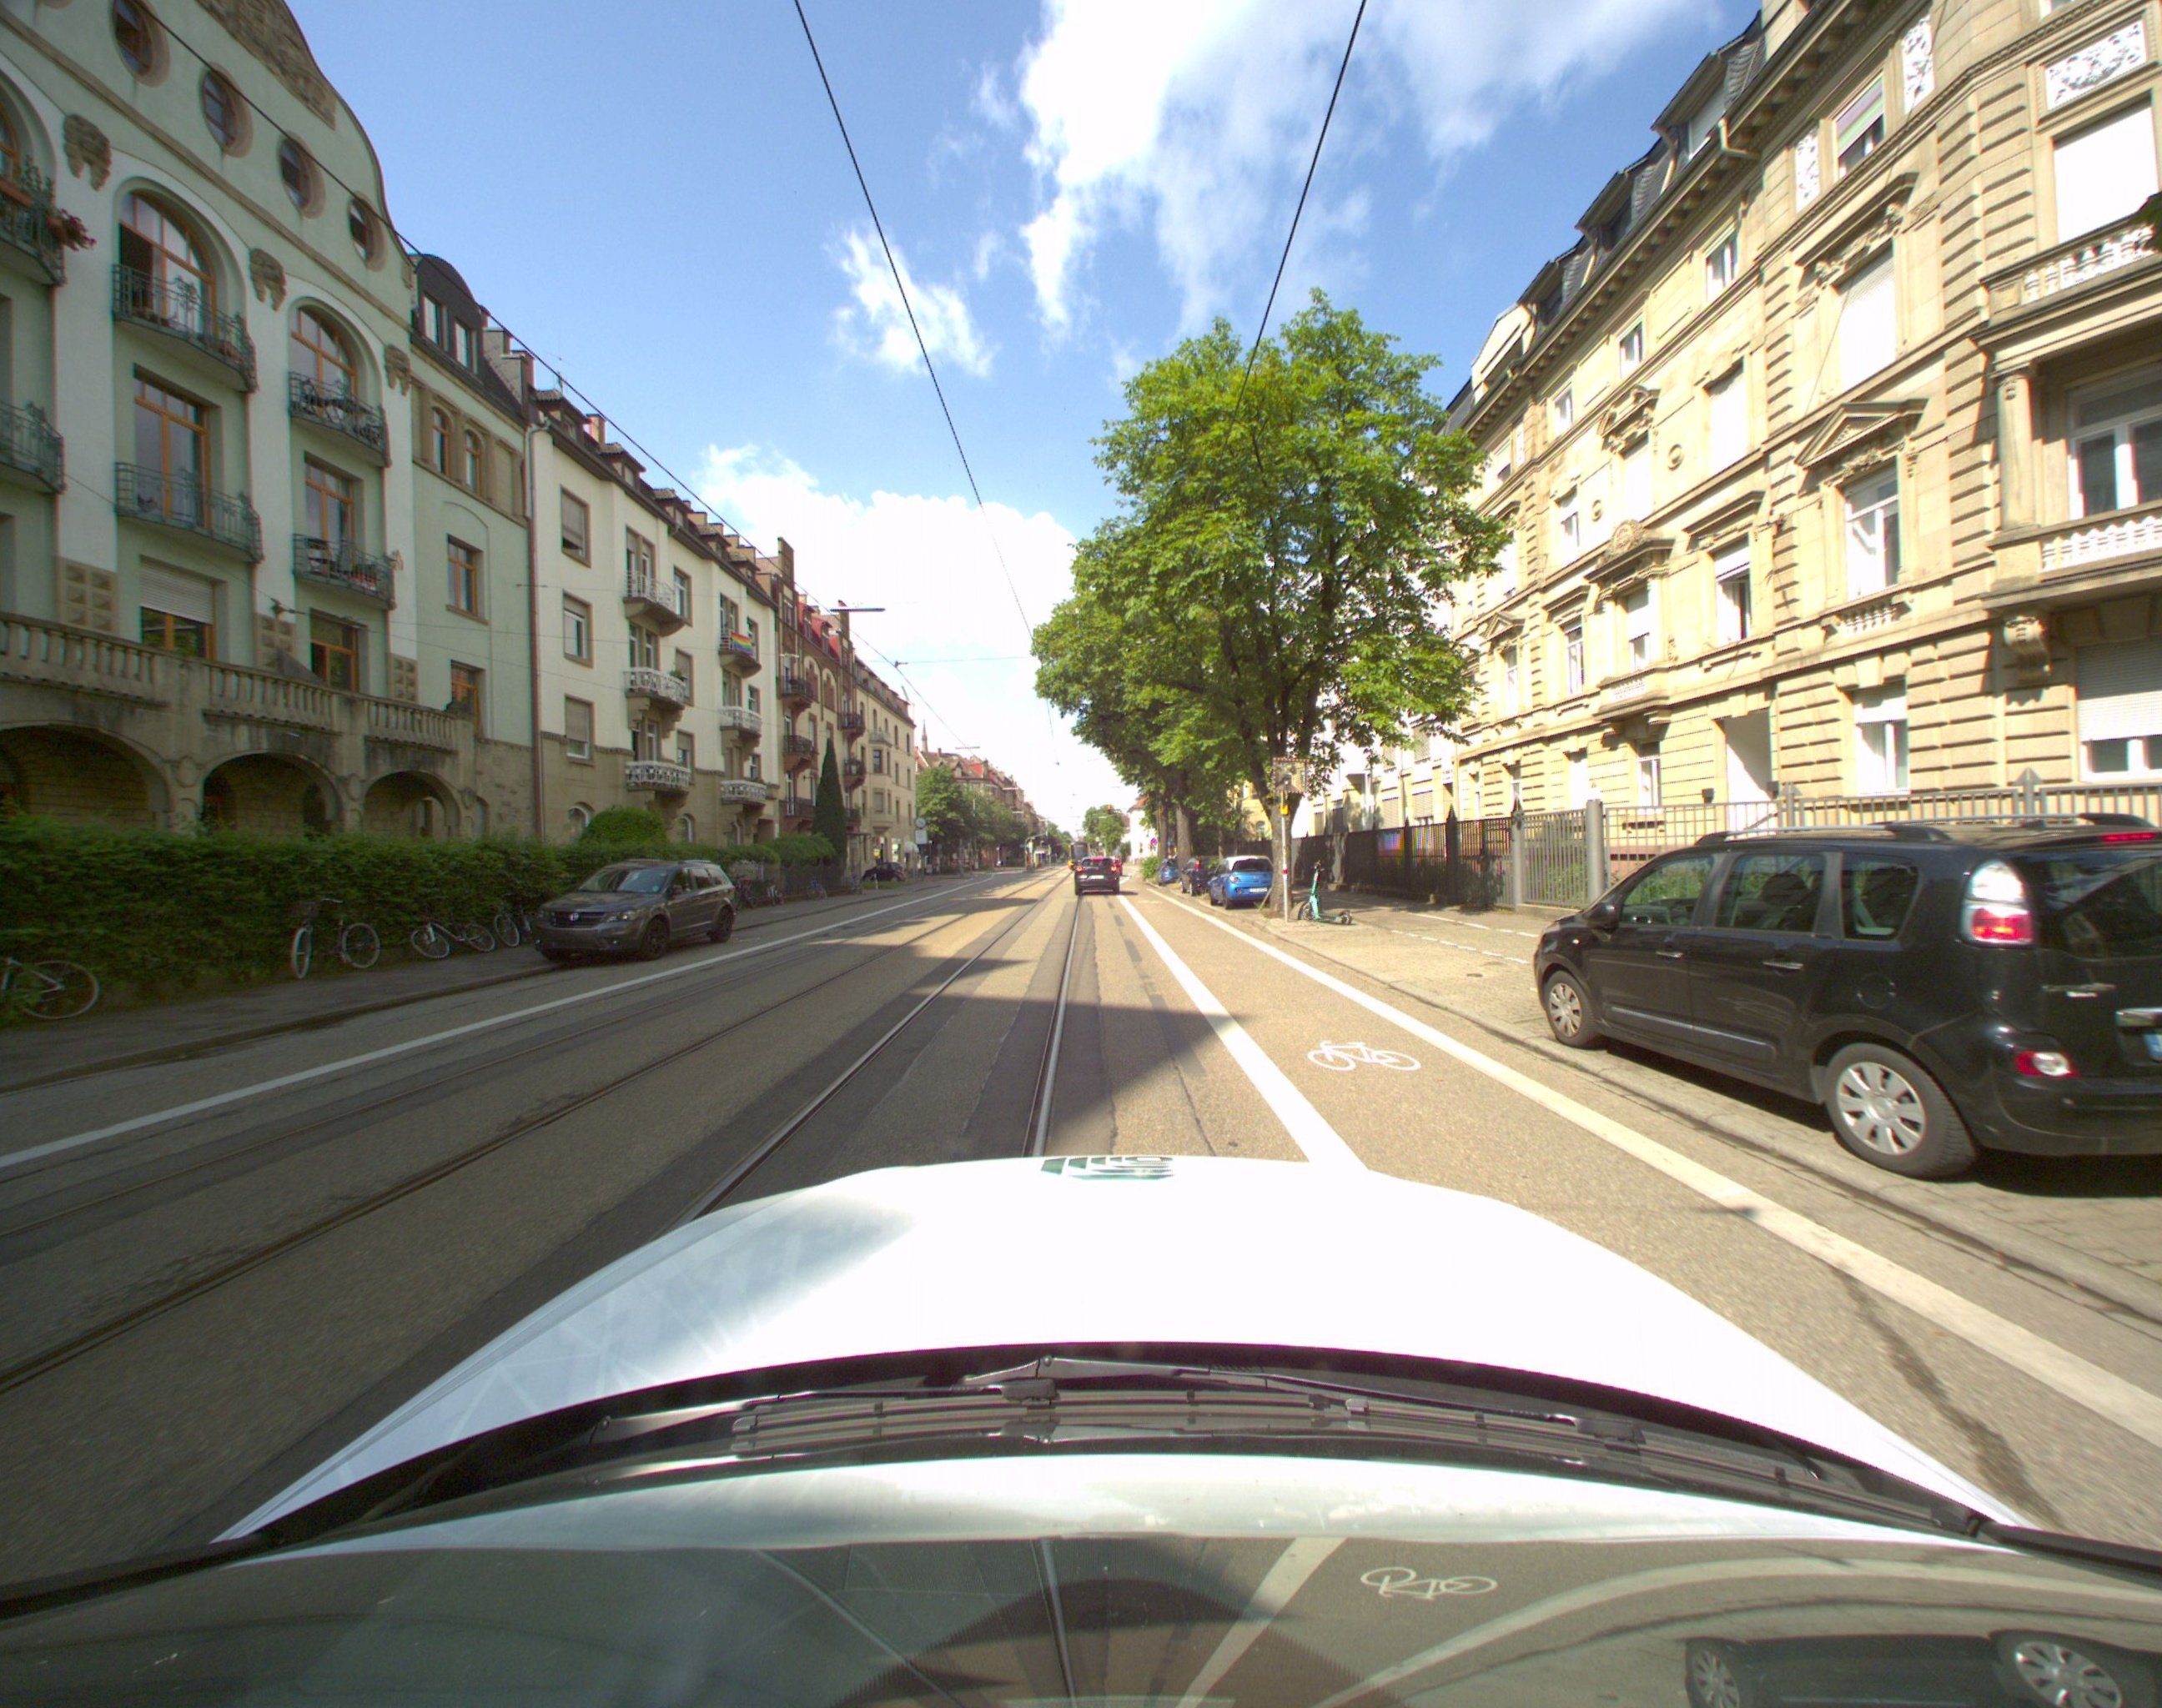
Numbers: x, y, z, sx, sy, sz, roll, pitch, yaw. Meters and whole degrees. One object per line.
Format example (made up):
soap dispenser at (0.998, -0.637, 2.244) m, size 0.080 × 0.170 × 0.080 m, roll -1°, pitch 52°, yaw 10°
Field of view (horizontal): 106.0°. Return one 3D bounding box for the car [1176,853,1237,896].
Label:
car at (4.862, 0.760, 32.019) m, size 1.635 × 1.496 × 3.755 m, roll -3°, pitch 0°, yaw -2°

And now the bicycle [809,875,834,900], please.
bicycle at (-10.624, 1.361, 33.424) m, size 0.424 × 0.959 × 1.706 m, roll 0°, pitch 0°, yaw 2°

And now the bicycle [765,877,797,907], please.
bicycle at (-10.672, 1.329, 29.024) m, size 0.381 × 0.975 × 1.802 m, roll 0°, pitch 0°, yaw 2°

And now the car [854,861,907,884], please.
car at (-13.893, 1.282, 56.612) m, size 3.222 × 1.513 × 1.680 m, roll 0°, pitch -1°, yaw 3°

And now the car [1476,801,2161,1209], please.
car at (4.548, 0.599, 5.401) m, size 1.692 × 1.591 × 4.201 m, roll -3°, pitch -1°, yaw -1°

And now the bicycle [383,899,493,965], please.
bicycle at (-10.923, 1.296, 13.903) m, size 0.381 × 0.959 × 1.811 m, roll 0°, pitch 0°, yaw 2°

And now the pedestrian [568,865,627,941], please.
pedestrian at (-10.176, 1.011, 17.171) m, size 0.677 × 1.568 × 0.882 m, roll 0°, pitch -1°, yaw 2°

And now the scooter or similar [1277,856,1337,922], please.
scooter or similar at (4.760, 0.723, 17.197) m, size 0.443 × 1.299 × 1.171 m, roll -5°, pitch 2°, yaw -30°

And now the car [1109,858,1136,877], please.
car at (3.522, 1.153, 69.753) m, size 1.780 × 1.492 × 4.879 m, roll -2°, pitch 0°, yaw -2°

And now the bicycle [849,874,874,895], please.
bicycle at (-10.491, 1.462, 38.986) m, size 0.508 × 0.959 × 1.818 m, roll 1°, pitch -2°, yaw 7°

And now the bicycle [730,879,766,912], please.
bicycle at (-10.821, 1.336, 26.540) m, size 0.381 × 0.959 × 1.802 m, roll 0°, pitch 0°, yaw 2°

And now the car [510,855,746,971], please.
car at (-8.170, 0.935, 15.325) m, size 1.780 × 1.762 × 4.879 m, roll -2°, pitch 0°, yaw -2°

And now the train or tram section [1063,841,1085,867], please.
train or tram section at (-1.026, 0.032, 116.932) m, size 2.646 × 3.528 × 8.487 m, roll -3°, pitch -1°, yaw -3°

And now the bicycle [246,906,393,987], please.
bicycle at (-10.964, 1.296, 11.811) m, size 0.381 × 0.959 × 1.811 m, roll 0°, pitch 0°, yaw 2°

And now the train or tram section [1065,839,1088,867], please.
train or tram section at (-0.648, -0.084, 108.415) m, size 2.646 × 3.528 × 8.487 m, roll -3°, pitch -1°, yaw -3°

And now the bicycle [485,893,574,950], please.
bicycle at (-10.820, 1.304, 16.042) m, size 0.381 × 0.959 × 1.922 m, roll 0°, pitch 0°, yaw 2°

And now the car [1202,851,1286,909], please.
car at (4.729, 0.718, 24.119) m, size 1.635 × 1.496 × 3.625 m, roll -3°, pitch 0°, yaw -1°

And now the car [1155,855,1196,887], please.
car at (4.861, 0.858, 42.388) m, size 1.618 × 1.496 × 3.847 m, roll -4°, pitch 0°, yaw 0°

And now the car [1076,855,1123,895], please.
car at (0.695, 0.828, 33.750) m, size 1.784 × 1.512 × 4.349 m, roll -1°, pitch 0°, yaw -1°

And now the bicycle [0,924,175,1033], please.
bicycle at (-10.962, 1.306, 8.754) m, size 0.381 × 0.959 × 1.811 m, roll 0°, pitch 0°, yaw 2°

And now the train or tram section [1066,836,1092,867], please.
train or tram section at (-0.278, -0.199, 99.890) m, size 2.646 × 3.528 × 8.487 m, roll -3°, pitch -1°, yaw -3°
